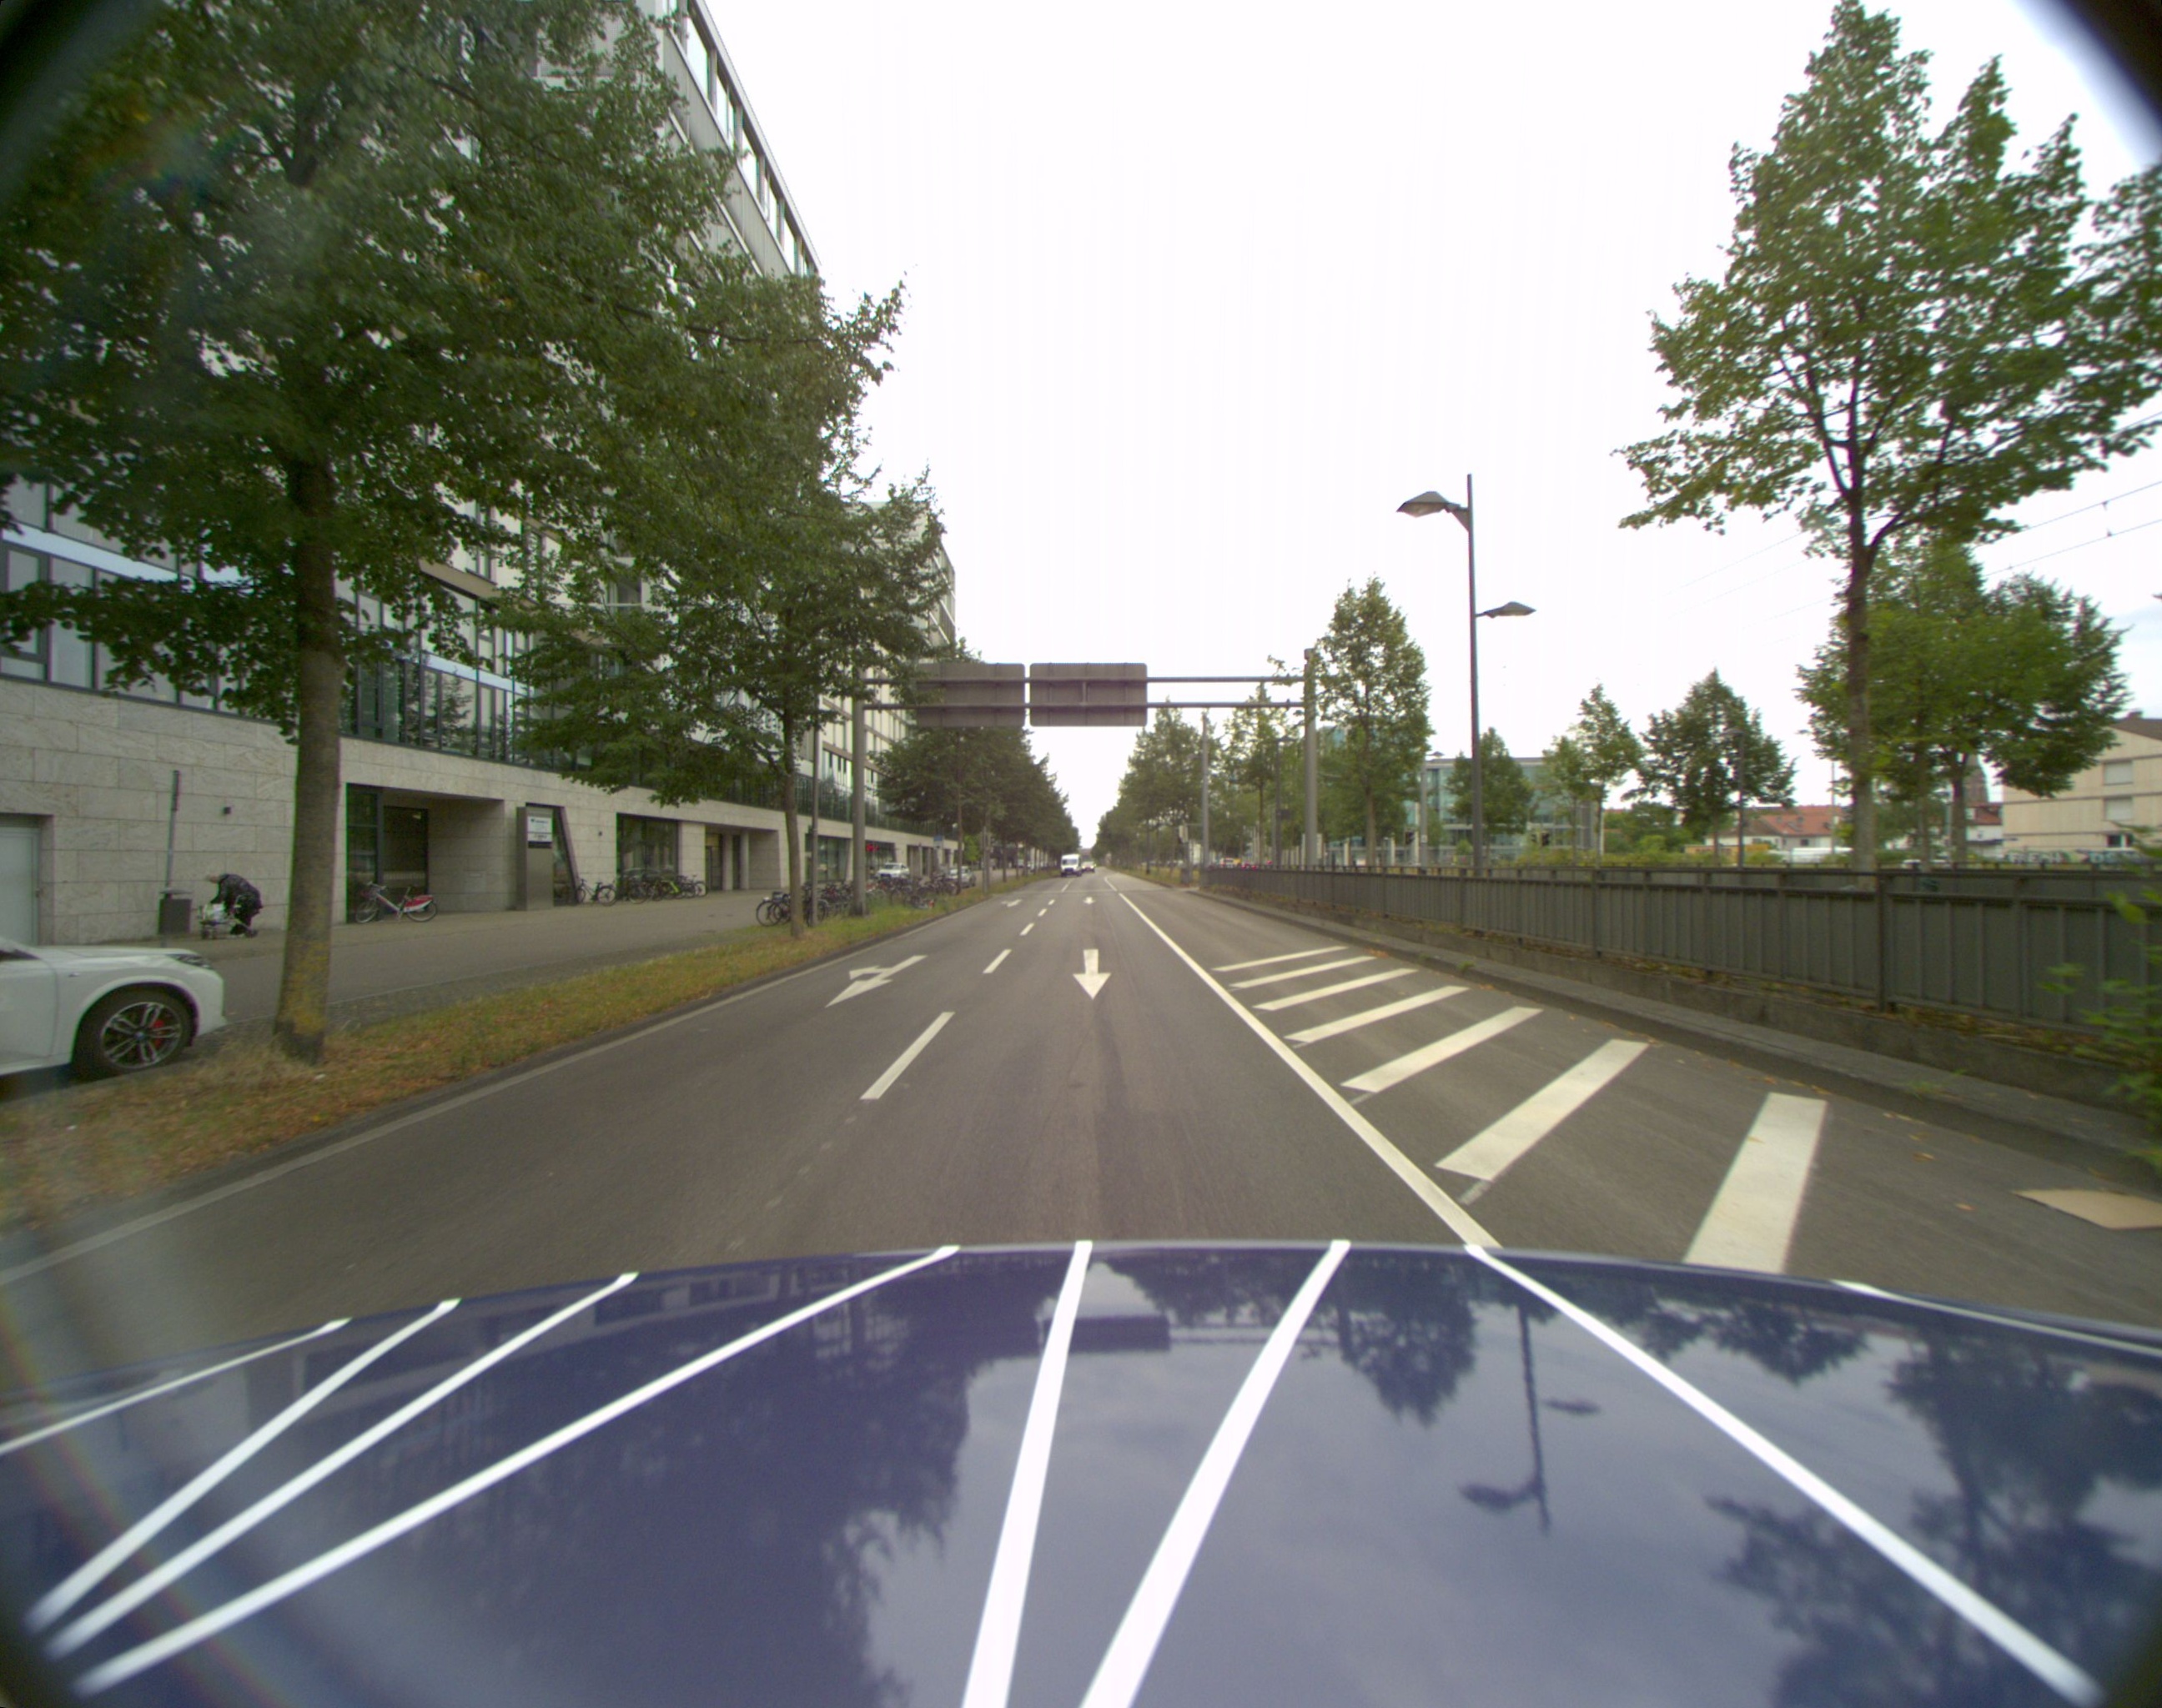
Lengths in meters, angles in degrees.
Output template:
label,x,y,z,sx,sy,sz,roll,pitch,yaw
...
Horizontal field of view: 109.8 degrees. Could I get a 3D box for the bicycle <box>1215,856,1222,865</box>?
label,x,y,z,sx,sy,sz,roll,pitch,yaw
bicycle,22.877,1.089,126.352,0.711,1.479,2.358,-3,-1,-1

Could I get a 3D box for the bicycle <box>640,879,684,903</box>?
label,x,y,z,sx,sy,sz,roll,pitch,yaw
bicycle,-17.704,1.563,32.112,1.533,0.947,0.533,0,0,-3

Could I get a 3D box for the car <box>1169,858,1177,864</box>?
label,x,y,z,sx,sy,sz,roll,pitch,yaw
car,24.482,1.885,202.744,1.752,1.448,3.865,-1,0,2

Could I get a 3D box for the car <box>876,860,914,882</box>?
label,x,y,z,sx,sy,sz,roll,pitch,yaw
car,-14.366,1.326,58.914,1.862,1.579,4.240,2,0,1

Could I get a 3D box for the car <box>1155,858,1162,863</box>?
label,x,y,z,sx,sy,sz,roll,pitch,yaw
car,22.955,1.930,224.277,1.752,1.448,3.865,-1,0,2

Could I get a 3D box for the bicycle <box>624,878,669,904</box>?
label,x,y,z,sx,sy,sz,roll,pitch,yaw
bicycle,-17.741,1.494,31.035,1.533,1.020,0.533,0,0,-3

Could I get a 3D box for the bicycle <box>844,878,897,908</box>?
label,x,y,z,sx,sy,sz,roll,pitch,yaw
bicycle,-7.733,1.414,27.923,1.749,0.968,0.609,-4,0,-8

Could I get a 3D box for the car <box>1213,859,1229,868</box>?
label,x,y,z,sx,sy,sz,roll,pitch,yaw
car,22.184,1.474,120.680,1.753,1.488,3.865,-1,0,1

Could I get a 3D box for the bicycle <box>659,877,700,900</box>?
label,x,y,z,sx,sy,sz,roll,pitch,yaw
bicycle,-17.711,1.517,33.542,1.533,0.947,0.533,0,0,-3

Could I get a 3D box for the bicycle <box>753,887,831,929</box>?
label,x,y,z,sx,sy,sz,roll,pitch,yaw
bicycle,-7.930,1.479,20.892,1.865,0.989,0.574,-4,0,-2

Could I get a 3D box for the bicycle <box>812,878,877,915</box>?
label,x,y,z,sx,sy,sz,roll,pitch,yaw
bicycle,-7.837,1.395,25.230,1.936,1.059,0.543,-4,0,-8

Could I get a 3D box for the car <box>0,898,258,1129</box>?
label,x,y,z,sx,sy,sz,roll,pitch,yaw
car,-8.574,1.165,4.693,1.943,1.543,4.594,-1,-1,1

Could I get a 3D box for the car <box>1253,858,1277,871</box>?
label,x,y,z,sx,sy,sz,roll,pitch,yaw
car,23.810,1.307,98.406,1.832,1.646,4.691,0,0,-1

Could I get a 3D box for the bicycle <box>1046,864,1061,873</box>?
label,x,y,z,sx,sy,sz,roll,pitch,yaw
bicycle,-3.615,1.920,99.566,1.790,1.013,0.422,-3,1,-14

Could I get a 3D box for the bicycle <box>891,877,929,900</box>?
label,x,y,z,sx,sy,sz,roll,pitch,yaw
bicycle,-7.720,1.544,34.308,1.533,0.947,0.484,-3,0,-3

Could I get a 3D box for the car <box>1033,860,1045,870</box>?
label,x,y,z,sx,sy,sz,roll,pitch,yaw
car,-7.035,1.837,127.689,1.954,1.521,4.000,0,0,0

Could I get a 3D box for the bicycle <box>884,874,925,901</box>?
label,x,y,z,sx,sy,sz,roll,pitch,yaw
bicycle,-7.786,1.479,33.572,1.672,1.084,0.525,-3,0,-3

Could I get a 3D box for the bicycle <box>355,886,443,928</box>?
label,x,y,z,sx,sy,sz,roll,pitch,yaw
bicycle,-17.972,1.383,20.060,1.605,1.020,0.609,0,0,-26

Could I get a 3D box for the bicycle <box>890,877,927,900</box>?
label,x,y,z,sx,sy,sz,roll,pitch,yaw
bicycle,-7.972,1.590,35.081,1.533,0.947,0.552,-3,0,-3

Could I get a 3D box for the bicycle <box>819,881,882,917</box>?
label,x,y,z,sx,sy,sz,roll,pitch,yaw
bicycle,-7.813,1.518,25.810,1.936,1.059,0.543,-4,0,-8

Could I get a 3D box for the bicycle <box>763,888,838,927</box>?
label,x,y,z,sx,sy,sz,roll,pitch,yaw
bicycle,-7.948,1.508,21.558,1.865,0.945,0.501,-4,0,-2

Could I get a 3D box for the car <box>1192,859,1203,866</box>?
label,x,y,z,sx,sy,sz,roll,pitch,yaw
car,24.294,1.715,158.236,1.752,1.448,3.865,-1,0,2

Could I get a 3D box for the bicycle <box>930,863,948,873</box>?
label,x,y,z,sx,sy,sz,roll,pitch,yaw
bicycle,-17.724,1.775,94.868,2.238,1.170,0.976,-1,0,-7

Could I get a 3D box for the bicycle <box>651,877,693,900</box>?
label,x,y,z,sx,sy,sz,roll,pitch,yaw
bicycle,-17.727,1.499,32.936,1.533,0.947,0.533,0,0,-3

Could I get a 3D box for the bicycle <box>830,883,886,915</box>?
label,x,y,z,sx,sy,sz,roll,pitch,yaw
bicycle,-7.747,1.559,26.456,1.749,0.968,0.609,-4,0,-8

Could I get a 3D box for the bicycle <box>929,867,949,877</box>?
label,x,y,z,sx,sy,sz,roll,pitch,yaw
bicycle,-17.913,2.256,96.098,2.426,1.170,1.202,-1,0,-7

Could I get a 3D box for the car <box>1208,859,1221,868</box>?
label,x,y,z,sx,sy,sz,roll,pitch,yaw
car,22.966,1.659,130.619,1.752,1.448,3.866,-1,0,3

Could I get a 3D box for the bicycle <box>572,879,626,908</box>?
label,x,y,z,sx,sy,sz,roll,pitch,yaw
bicycle,-17.439,1.440,27.506,1.602,1.020,0.533,0,0,-3

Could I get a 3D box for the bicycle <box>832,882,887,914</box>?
label,x,y,z,sx,sy,sz,roll,pitch,yaw
bicycle,-7.867,1.564,27.078,1.749,0.968,0.609,-4,0,-8

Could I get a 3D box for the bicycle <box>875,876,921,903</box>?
label,x,y,z,sx,sy,sz,roll,pitch,yaw
bicycle,-7.714,1.500,32.049,1.778,1.006,0.610,-4,0,-8

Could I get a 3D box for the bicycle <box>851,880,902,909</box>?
label,x,y,z,sx,sy,sz,roll,pitch,yaw
bicycle,-7.718,1.528,28.763,1.749,0.968,0.609,-4,0,-8

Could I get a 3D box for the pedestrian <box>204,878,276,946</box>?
label,x,y,z,sx,sy,sz,roll,pitch,yaw
pedestrian,-17.962,1.218,16.245,0.758,1.398,0.721,0,0,8

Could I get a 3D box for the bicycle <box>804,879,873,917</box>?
label,x,y,z,sx,sy,sz,roll,pitch,yaw
bicycle,-7.797,1.407,24.500,1.935,1.059,0.641,-4,0,-2

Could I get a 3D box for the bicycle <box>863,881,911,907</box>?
label,x,y,z,sx,sy,sz,roll,pitch,yaw
bicycle,-7.673,1.571,30.073,1.720,0.900,0.588,-4,0,-8

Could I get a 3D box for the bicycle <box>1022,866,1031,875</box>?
label,x,y,z,sx,sy,sz,roll,pitch,yaw
bicycle,-5.847,1.783,81.237,0.634,0.871,2.116,-3,0,2

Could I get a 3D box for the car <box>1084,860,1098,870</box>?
label,x,y,z,sx,sy,sz,roll,pitch,yaw
car,1.454,1.607,110.877,1.973,1.528,4.140,0,0,1

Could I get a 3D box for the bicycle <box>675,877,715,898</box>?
label,x,y,z,sx,sy,sz,roll,pitch,yaw
bicycle,-17.786,1.529,35.041,1.533,0.947,0.533,0,0,-3

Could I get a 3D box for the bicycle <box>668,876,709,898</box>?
label,x,y,z,sx,sy,sz,roll,pitch,yaw
bicycle,-17.762,1.483,34.393,1.533,0.947,0.533,0,0,-3

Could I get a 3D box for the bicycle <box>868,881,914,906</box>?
label,x,y,z,sx,sy,sz,roll,pitch,yaw
bicycle,-7.806,1.624,31.322,1.720,0.900,0.588,-4,0,-8

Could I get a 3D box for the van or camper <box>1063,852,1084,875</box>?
label,x,y,z,sx,sy,sz,roll,pitch,yaw
van or camper,-0.843,1.049,85.319,2.184,2.493,6.339,-2,0,0

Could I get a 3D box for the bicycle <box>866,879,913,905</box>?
label,x,y,z,sx,sy,sz,roll,pitch,yaw
bicycle,-7.735,1.537,30.707,1.720,0.900,0.588,-4,0,-8

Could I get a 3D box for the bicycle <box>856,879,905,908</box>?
label,x,y,z,sx,sy,sz,roll,pitch,yaw
bicycle,-7.747,1.527,29.413,1.720,0.968,0.609,-4,0,-8

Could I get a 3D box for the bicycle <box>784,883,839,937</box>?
label,x,y,z,sx,sy,sz,roll,pitch,yaw
bicycle,-6.380,1.294,18.130,0.712,1.109,2.202,-4,0,-7

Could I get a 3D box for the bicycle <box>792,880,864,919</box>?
label,x,y,z,sx,sy,sz,roll,pitch,yaw
bicycle,-7.879,1.413,23.740,1.935,1.059,0.705,-4,0,-2

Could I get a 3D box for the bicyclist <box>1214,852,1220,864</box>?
label,x,y,z,sx,sy,sz,roll,pitch,yaw
bicyclist,22.723,0.729,126.962,0.742,2.002,0.995,-3,1,-2

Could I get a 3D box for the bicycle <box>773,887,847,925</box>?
label,x,y,z,sx,sy,sz,roll,pitch,yaw
bicycle,-7.932,1.517,22.307,1.865,0.945,0.653,-4,0,-2

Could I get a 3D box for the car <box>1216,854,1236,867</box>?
label,x,y,z,sx,sy,sz,roll,pitch,yaw
car,21.439,0.967,112.635,1.998,1.933,5.096,-1,0,0

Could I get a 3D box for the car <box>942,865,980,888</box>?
label,x,y,z,sx,sy,sz,roll,pitch,yaw
car,-7.997,1.482,51.000,1.765,1.413,4.183,-1,0,1

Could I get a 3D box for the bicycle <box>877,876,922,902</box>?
label,x,y,z,sx,sy,sz,roll,pitch,yaw
bicycle,-7.801,1.487,32.742,1.778,1.006,0.610,-3,0,-8

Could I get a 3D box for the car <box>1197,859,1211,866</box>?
label,x,y,z,sx,sy,sz,roll,pitch,yaw
car,23.187,1.563,143.092,1.999,1.410,4.000,-1,0,0

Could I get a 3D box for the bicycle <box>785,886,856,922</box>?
label,x,y,z,sx,sy,sz,roll,pitch,yaw
bicycle,-7.891,1.514,23.048,1.865,0.945,0.612,-4,0,-2

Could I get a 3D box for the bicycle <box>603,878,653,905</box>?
label,x,y,z,sx,sy,sz,roll,pitch,yaw
bicycle,-17.452,1.455,29.305,1.602,1.020,0.533,0,0,-3
